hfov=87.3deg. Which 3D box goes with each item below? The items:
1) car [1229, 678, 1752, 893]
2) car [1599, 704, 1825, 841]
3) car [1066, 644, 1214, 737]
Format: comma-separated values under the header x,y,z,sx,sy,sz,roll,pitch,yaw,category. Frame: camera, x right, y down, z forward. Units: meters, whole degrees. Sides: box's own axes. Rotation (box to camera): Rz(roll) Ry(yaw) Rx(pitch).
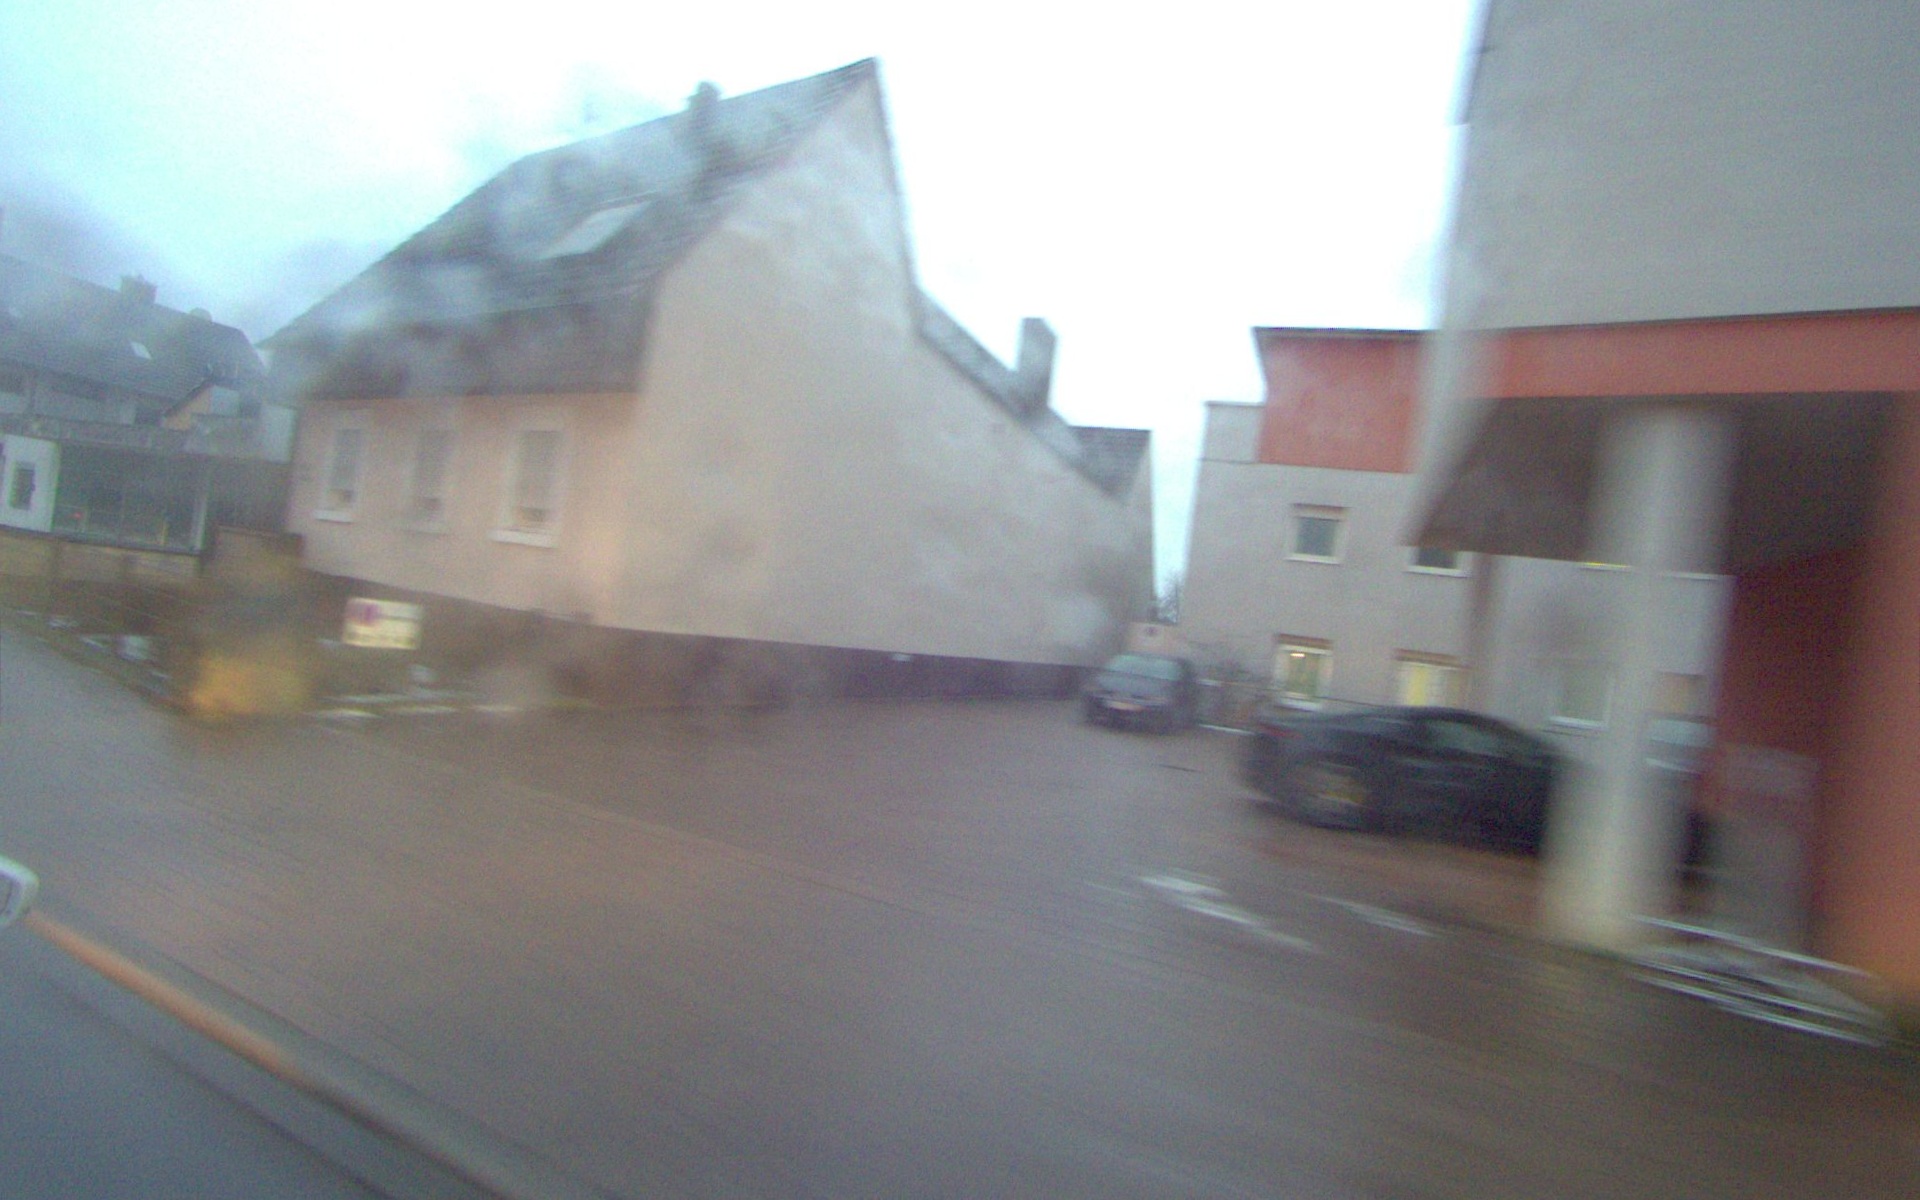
x,y,z,sx,sy,sz,roll,pitch,yaw,category
4.814,1.655,9.829,4.091,1.273,1.882,6,-1,15,car
11.851,2.610,16.245,1.839,1.482,4.722,7,-1,25,car
3.663,1.768,19.873,1.809,1.393,4.000,8,-2,25,car
